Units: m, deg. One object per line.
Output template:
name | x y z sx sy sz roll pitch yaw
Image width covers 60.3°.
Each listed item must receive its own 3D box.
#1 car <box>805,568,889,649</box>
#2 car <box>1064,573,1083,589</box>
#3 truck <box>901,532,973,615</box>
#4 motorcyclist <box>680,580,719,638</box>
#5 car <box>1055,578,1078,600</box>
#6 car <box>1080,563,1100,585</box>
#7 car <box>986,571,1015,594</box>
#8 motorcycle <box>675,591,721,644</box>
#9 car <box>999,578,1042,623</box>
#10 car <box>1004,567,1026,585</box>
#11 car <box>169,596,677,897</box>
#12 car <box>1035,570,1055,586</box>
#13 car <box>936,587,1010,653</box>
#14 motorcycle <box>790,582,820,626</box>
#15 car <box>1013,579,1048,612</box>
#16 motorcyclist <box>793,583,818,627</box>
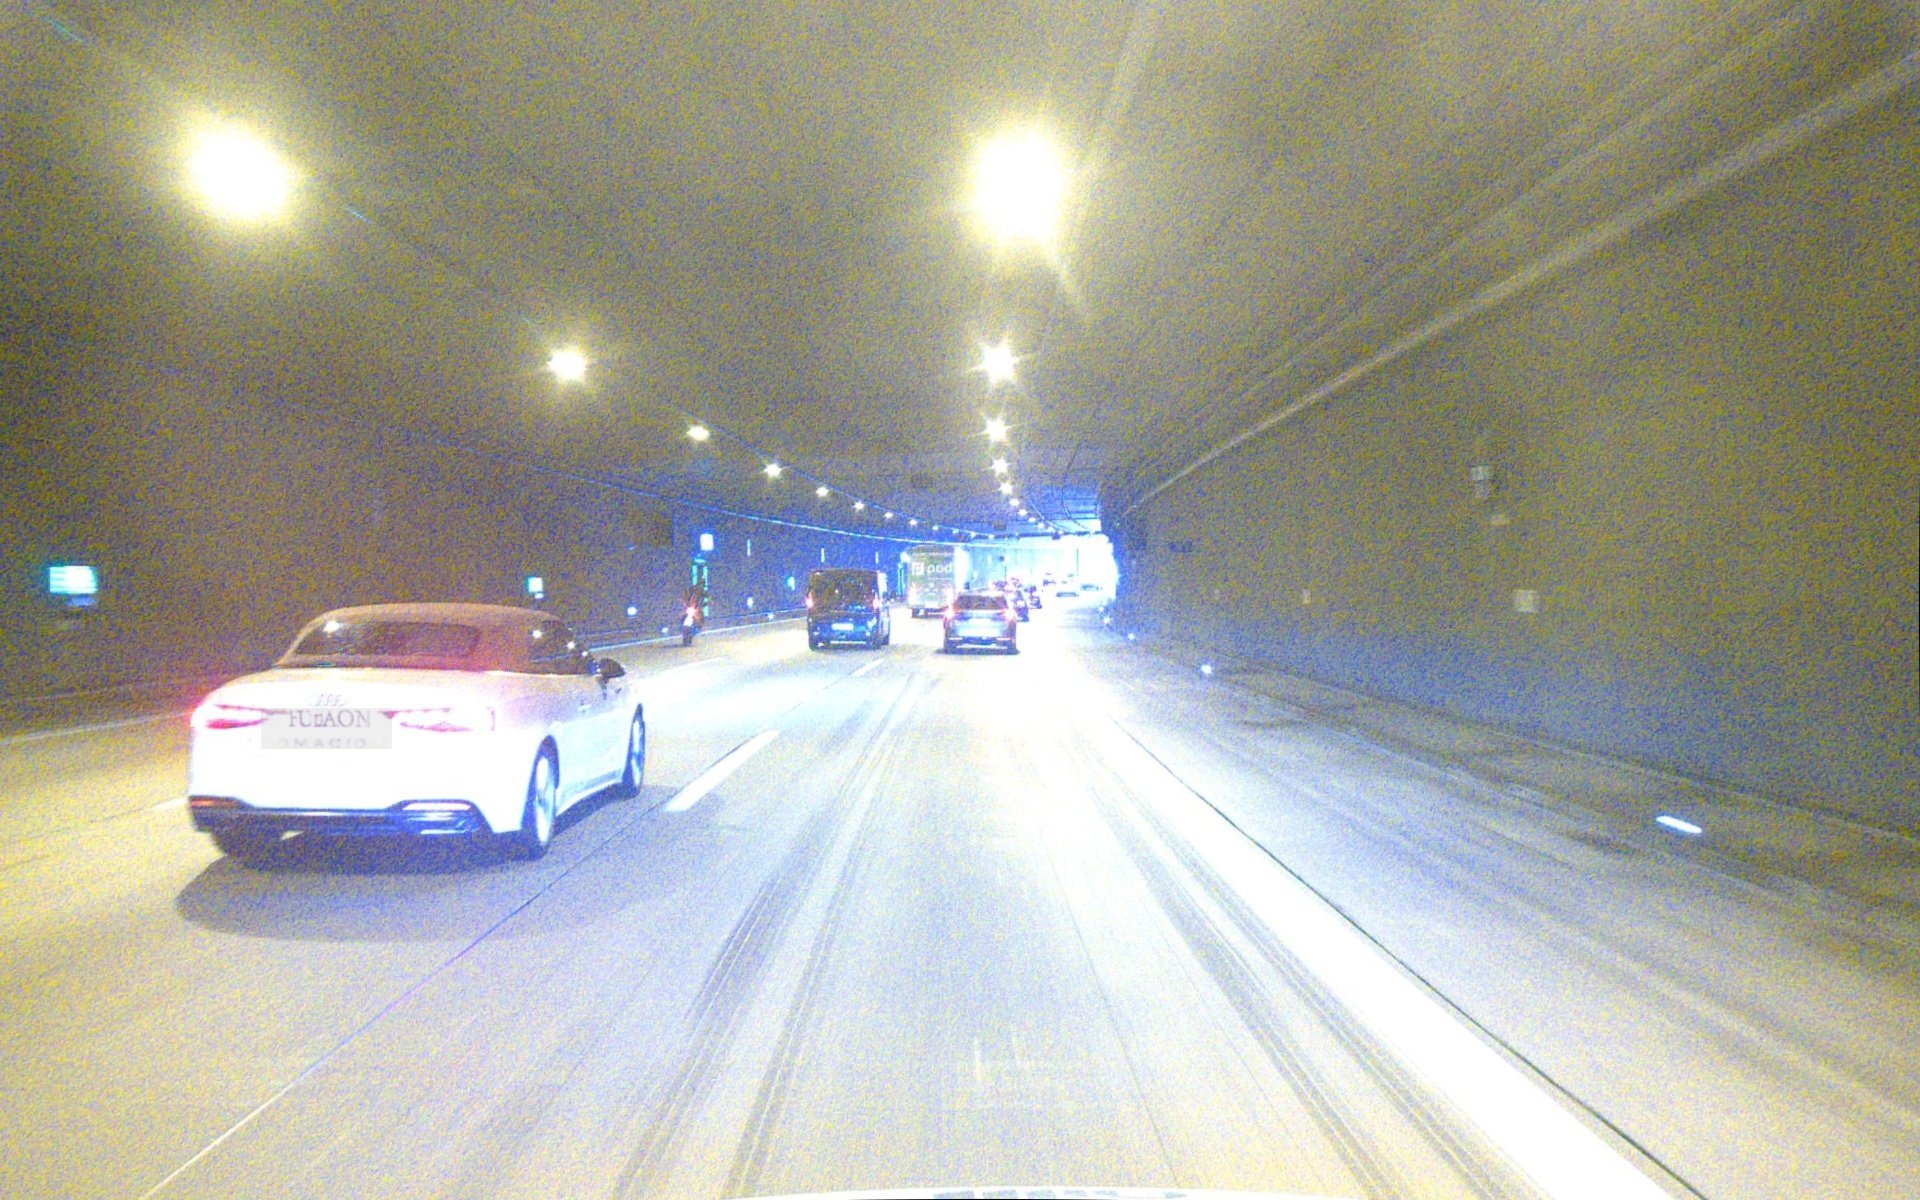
car | -2.835 0.173 42.305 1.870 1.978 3.871 0 1 0
car | 12.230 -2.047 178.068 1.951 1.660 4.002 0 -1 5
truck | -1.003 -1.217 78.872 2.976 3.737 7.395 0 0 2
motorcyclist | -6.643 0.237 42.165 0.761 1.478 1.069 0 -1 4
car | 8.790 -0.919 136.788 1.890 1.671 4.001 0 -1 3
car | 12.880 -2.597 163.732 1.951 2.049 4.002 0 -1 4
car | 3.065 -1.297 124.827 1.951 1.660 4.002 0 0 4
motorcycle | -6.659 0.453 42.123 0.668 1.320 2.399 0 -1 3
car | 2.628 0.005 71.676 1.818 1.887 4.001 0 0 2
car | 5.428 -2.388 163.709 1.890 1.671 4.003 0 0 5
car | -3.068 0.714 10.656 1.667 1.443 5.060 0 0 -1
car | 9.743 -2.528 189.060 1.889 1.671 4.003 0 -1 8
car | 0.369 0.456 40.560 1.706 1.489 3.873 0 1 2
motorcycle | -5.326 0.150 57.064 0.908 1.459 2.961 1 -1 -3
car | 4.152 -0.246 97.671 1.910 1.803 4.000 0 -1 0
motorcyclist | -5.311 0.181 57.041 0.790 1.474 1.864 0 -2 -3
